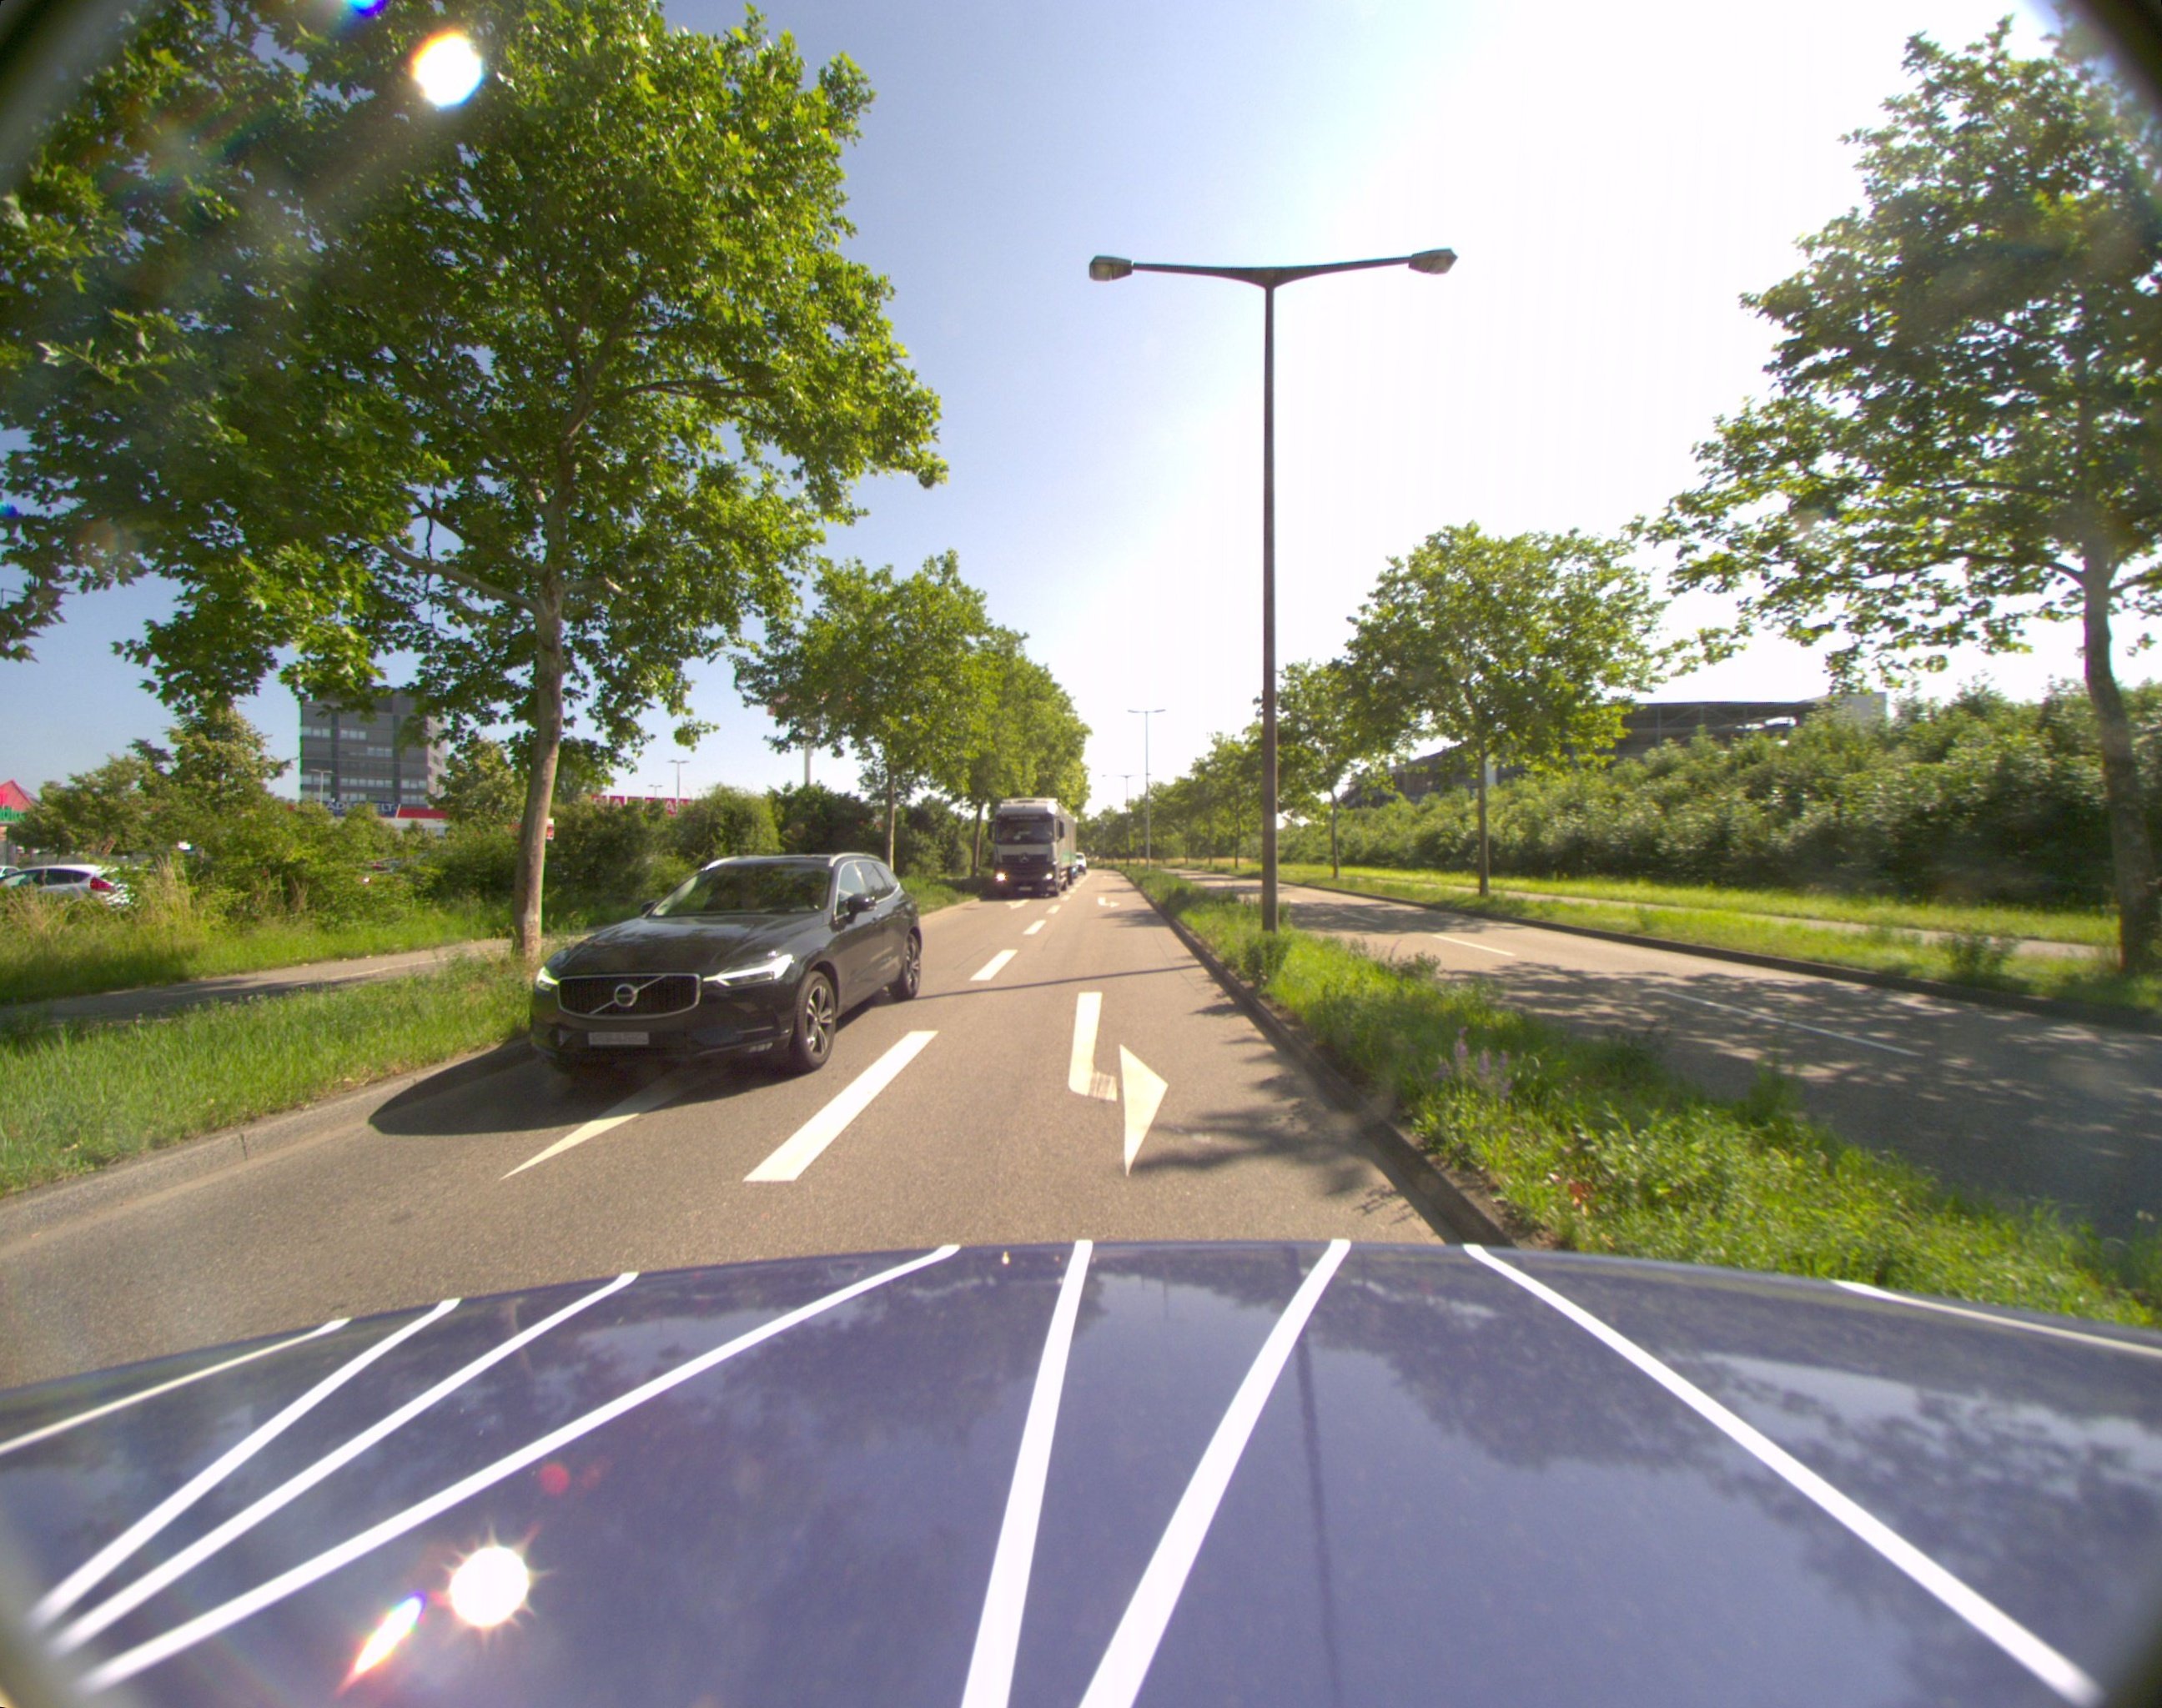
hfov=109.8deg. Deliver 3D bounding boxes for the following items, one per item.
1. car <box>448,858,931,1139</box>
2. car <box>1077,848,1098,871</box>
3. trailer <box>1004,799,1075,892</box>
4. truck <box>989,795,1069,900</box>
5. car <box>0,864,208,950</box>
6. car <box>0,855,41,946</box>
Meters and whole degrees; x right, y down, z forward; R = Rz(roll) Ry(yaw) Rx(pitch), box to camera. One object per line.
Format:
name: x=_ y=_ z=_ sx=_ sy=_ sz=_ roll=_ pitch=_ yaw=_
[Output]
car: x=-2.826 y=0.892 z=6.897 sx=1.924 sy=1.613 sz=4.564 roll=-1 pitch=1 yaw=1
car: x=0.593 y=0.439 z=67.422 sx=1.691 sy=1.893 sz=4.000 roll=-1 pitch=1 yaw=1
trailer: x=-1.872 y=-0.422 z=38.792 sx=2.805 sy=4.023 sz=10.796 roll=-1 pitch=1 yaw=1
truck: x=-1.986 y=-0.256 z=31.512 sx=2.741 sy=3.872 sz=5.851 roll=-1 pitch=1 yaw=1
car: x=-21.861 y=1.117 z=16.501 sx=3.558 sy=1.686 sz=1.718 roll=-1 pitch=1 yaw=-4
car: x=-21.773 y=0.913 z=13.633 sx=3.558 sy=1.686 sz=1.718 roll=-1 pitch=1 yaw=-4
